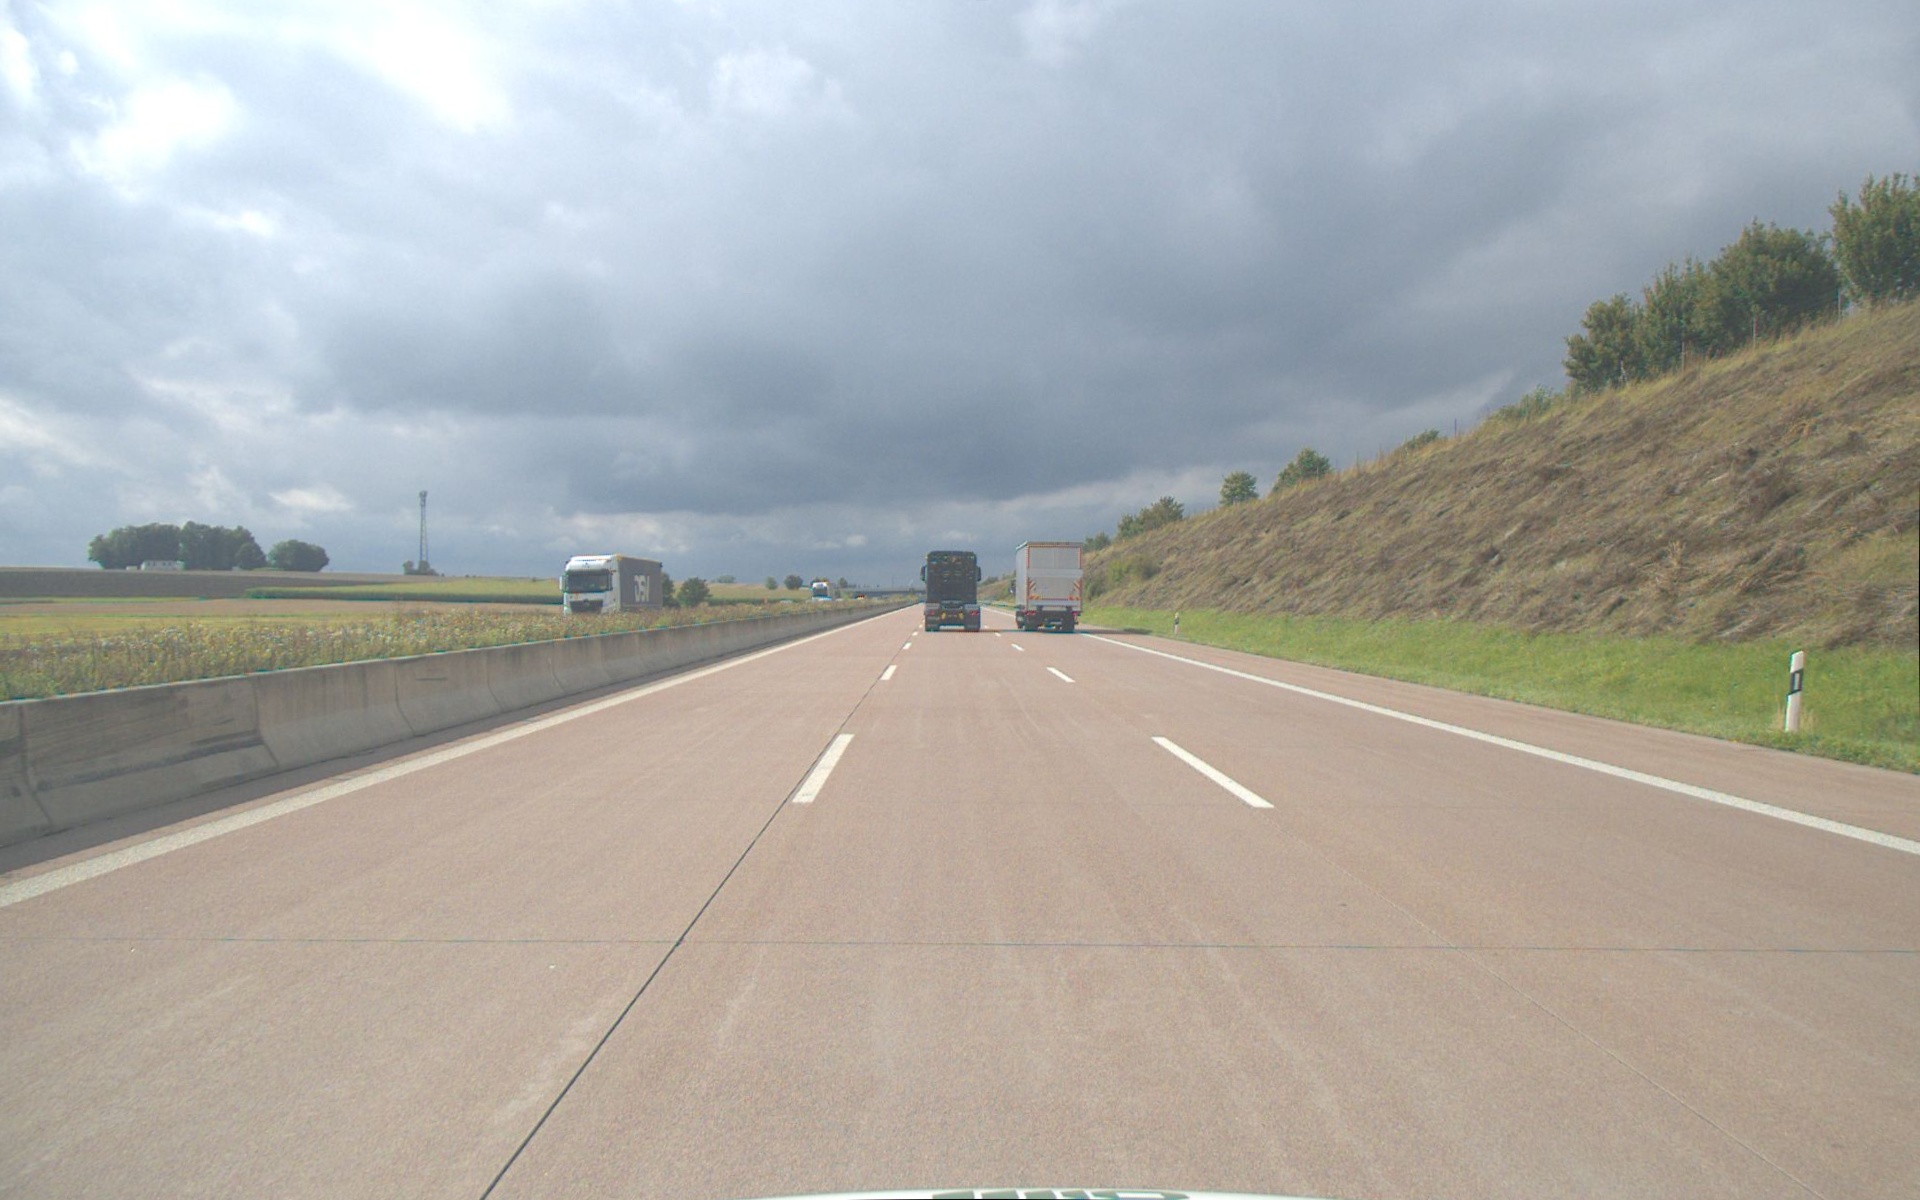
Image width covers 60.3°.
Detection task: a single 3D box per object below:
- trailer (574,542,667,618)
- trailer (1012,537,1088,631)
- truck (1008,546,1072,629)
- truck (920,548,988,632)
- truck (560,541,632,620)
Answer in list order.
[{"bbox_3d":[-19.382,-1.088,95.381,2.714,4.028,14.327,-1,0,-1],"label":"trailer"},{"bbox_3d":[4.092,-0.681,77.059,2.692,4.082,8.666,1,0,-3],"label":"trailer"},{"bbox_3d":[3.888,-0.598,81.297,2.693,3.960,4.543,1,0,-3],"label":"truck"},{"bbox_3d":[-0.352,-0.411,75.921,2.790,3.612,8.315,1,0,-2],"label":"truck"},{"bbox_3d":[-19.179,-1.015,87.490,2.714,4.028,5.289,-1,0,-2],"label":"truck"}]
